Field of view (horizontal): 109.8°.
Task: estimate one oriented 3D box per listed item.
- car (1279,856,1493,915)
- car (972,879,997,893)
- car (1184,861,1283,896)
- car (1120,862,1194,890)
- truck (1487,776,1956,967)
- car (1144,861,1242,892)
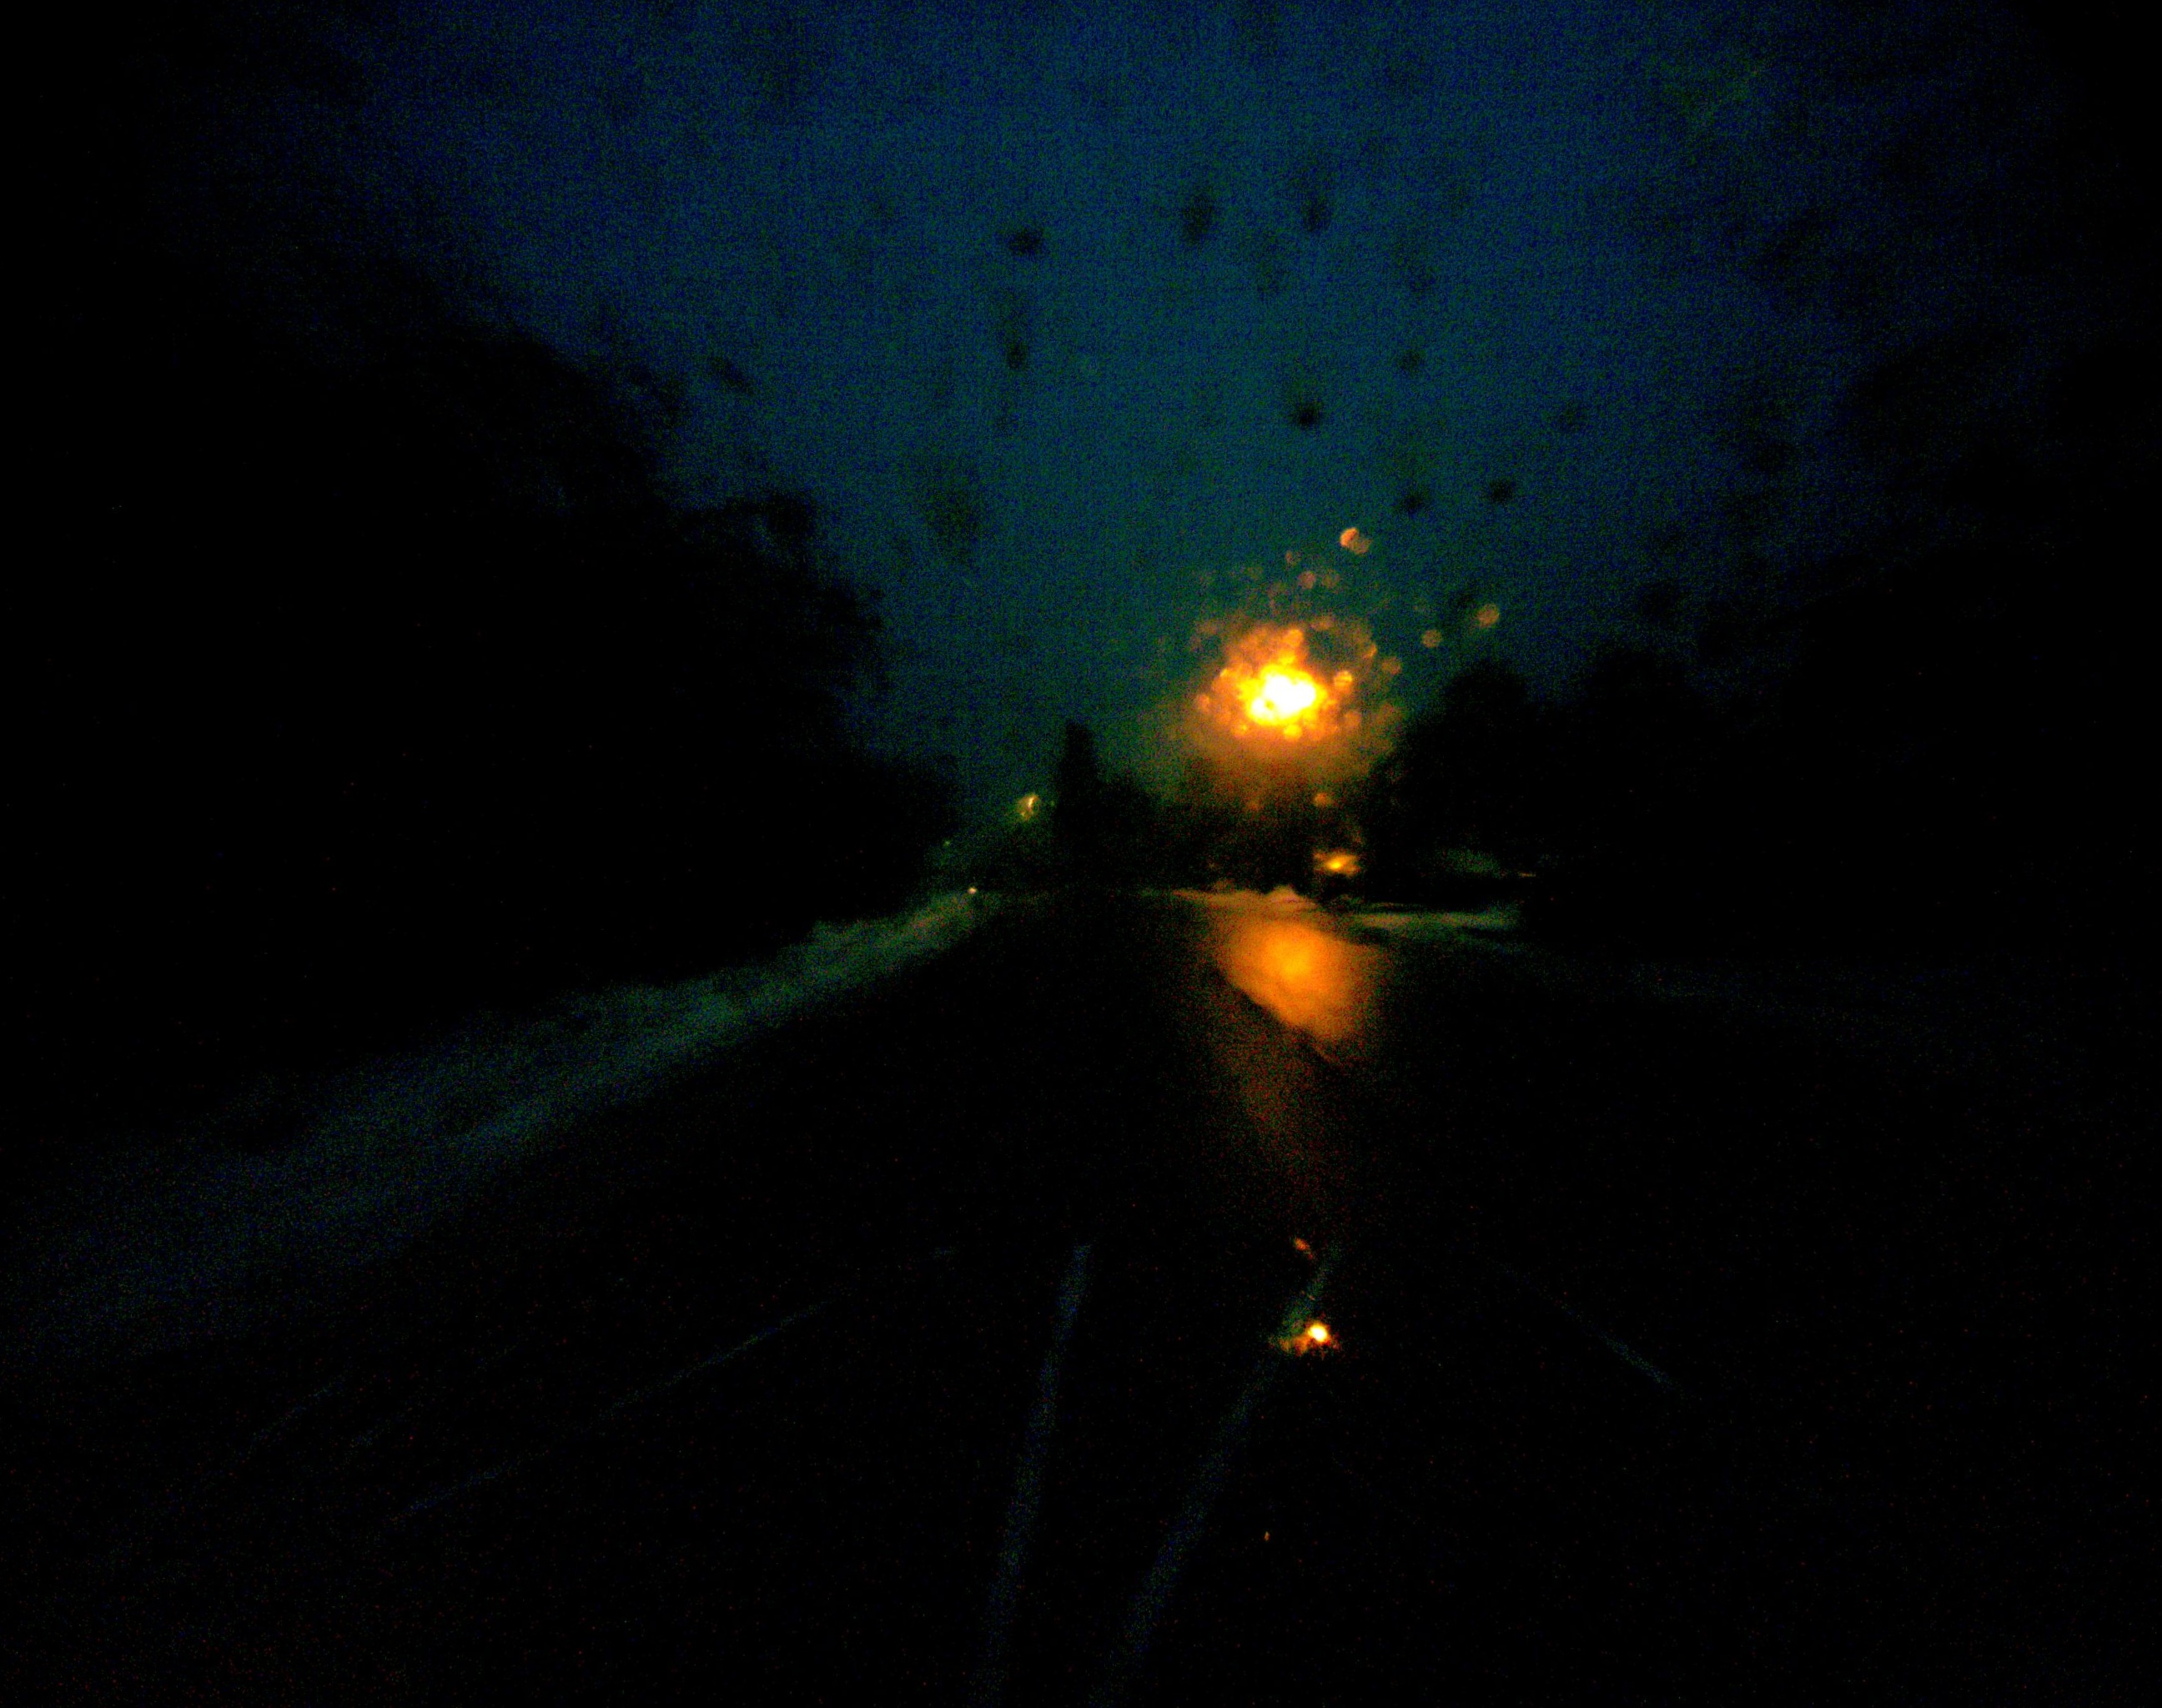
[{"bbox_3d":[8.060,0.803,20.295,4.903,1.476,2.122,0,-1,-9],"label":"car"},{"bbox_3d":[-12.081,4.059,95.194,1.884,1.417,5.386,-4,-3,-20],"label":"car"},{"bbox_3d":[6.703,1.058,33.573,3.868,1.462,1.937,0,-1,-13],"label":"car"},{"bbox_3d":[4.429,1.315,44.932,2.003,1.556,4.987,1,-2,-26],"label":"car"},{"bbox_3d":[8.674,0.239,10.502,5.279,2.289,1.999,0,-1,-9],"label":"truck"},{"bbox_3d":[5.756,1.154,39.317,4.546,1.556,2.108,0,-1,-17],"label":"car"}]
